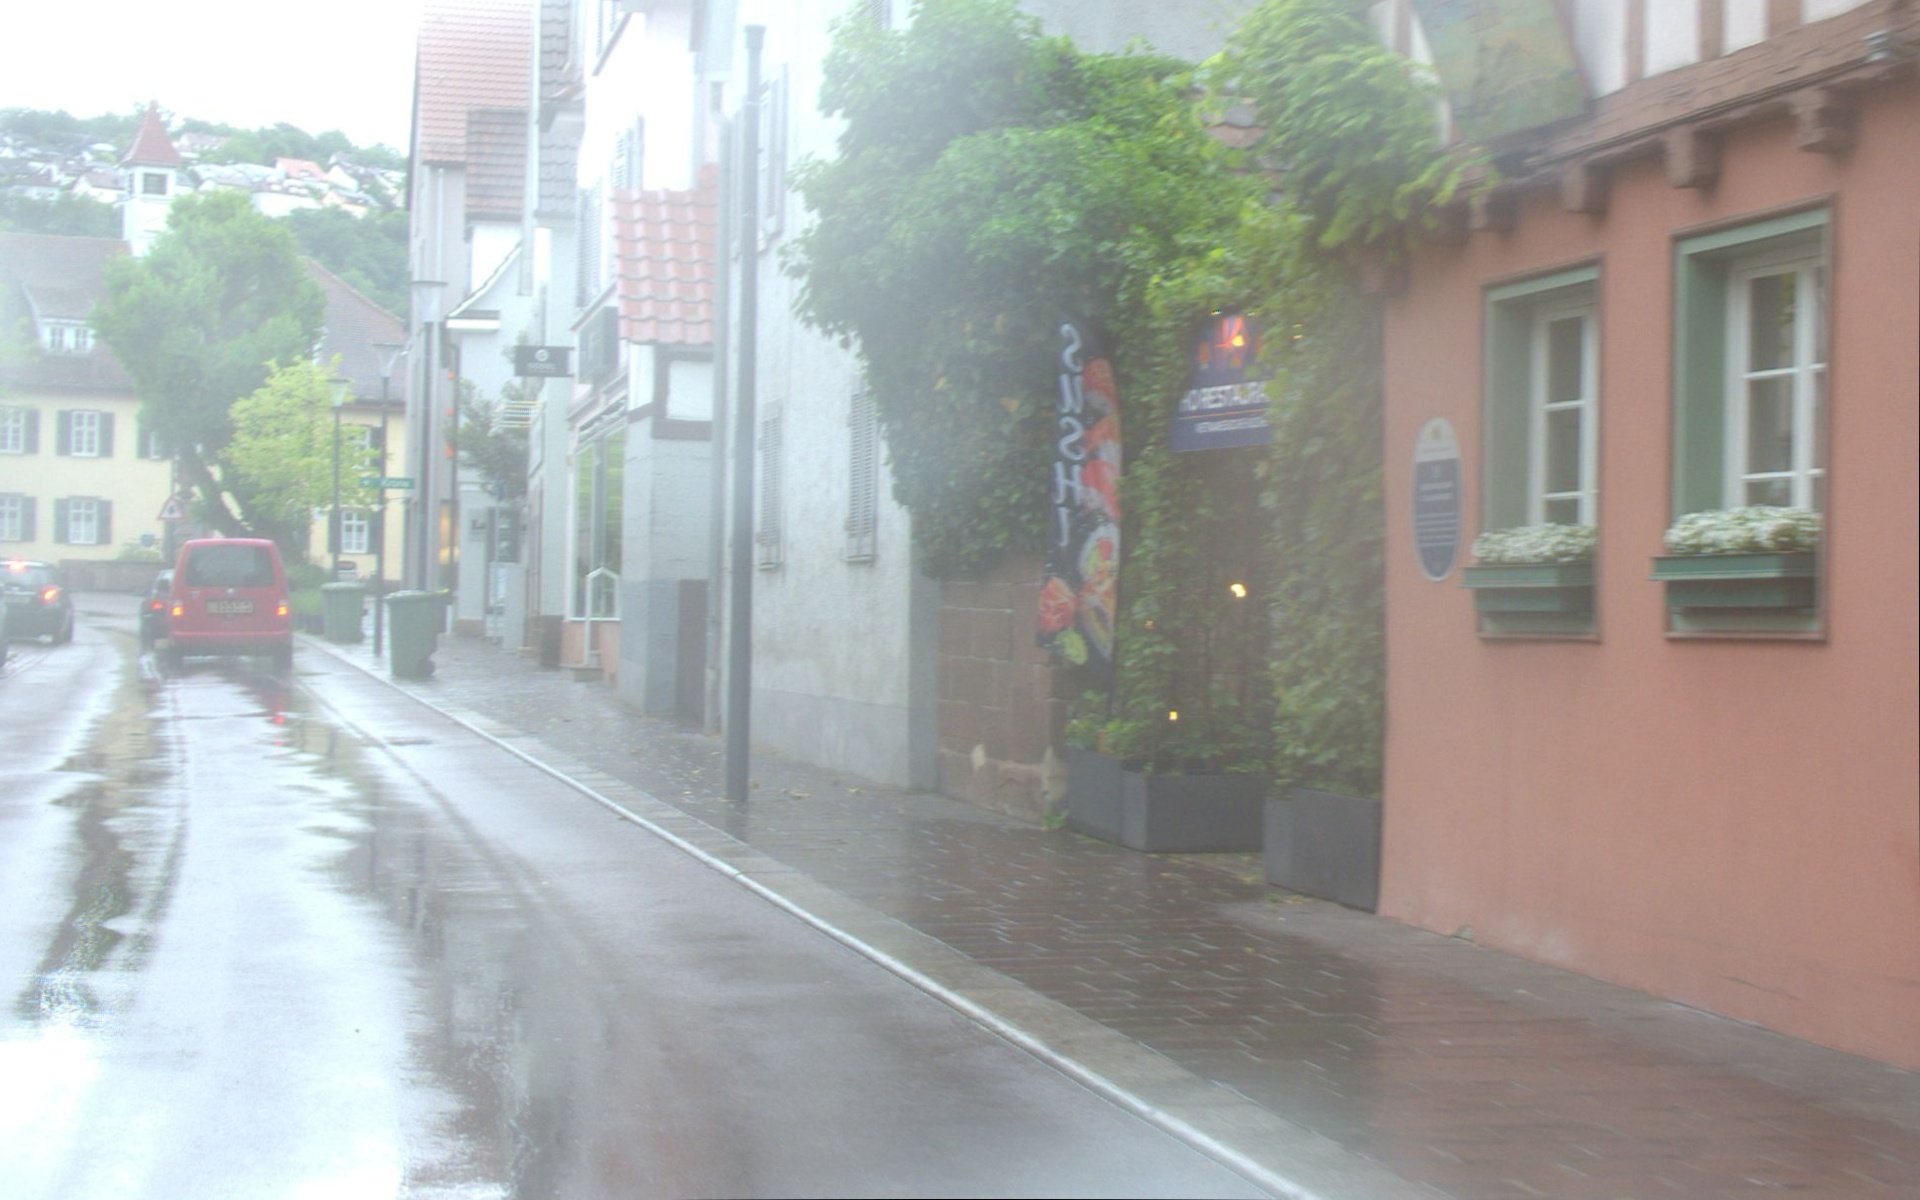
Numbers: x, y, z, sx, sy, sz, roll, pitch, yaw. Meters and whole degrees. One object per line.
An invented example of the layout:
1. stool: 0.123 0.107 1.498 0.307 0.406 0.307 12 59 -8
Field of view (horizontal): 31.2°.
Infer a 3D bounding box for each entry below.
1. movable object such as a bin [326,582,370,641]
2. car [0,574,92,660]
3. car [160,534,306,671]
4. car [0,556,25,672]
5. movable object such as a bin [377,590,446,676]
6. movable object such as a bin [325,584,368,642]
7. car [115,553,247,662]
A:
1. movable object such as a bin: -11.558 0.224 64.922 0.768 1.076 0.599 2 -2 -11
2. car: -16.934 0.291 63.136 1.691 1.438 3.886 2 0 -12
3. car: -10.489 0.006 49.784 1.893 1.805 4.001 3 0 -11
4. car: -13.940 0.150 47.298 1.691 1.533 4.122 3 0 -11
5. movable object such as a bin: -6.978 0.417 43.713 0.792 1.077 0.615 1 -1 -15
6. movable object such as a bin: -11.720 0.252 65.643 0.754 1.060 0.600 2 -2 -11
7. car: -13.848 0.165 60.957 1.993 1.793 4.001 2 -2 -16
